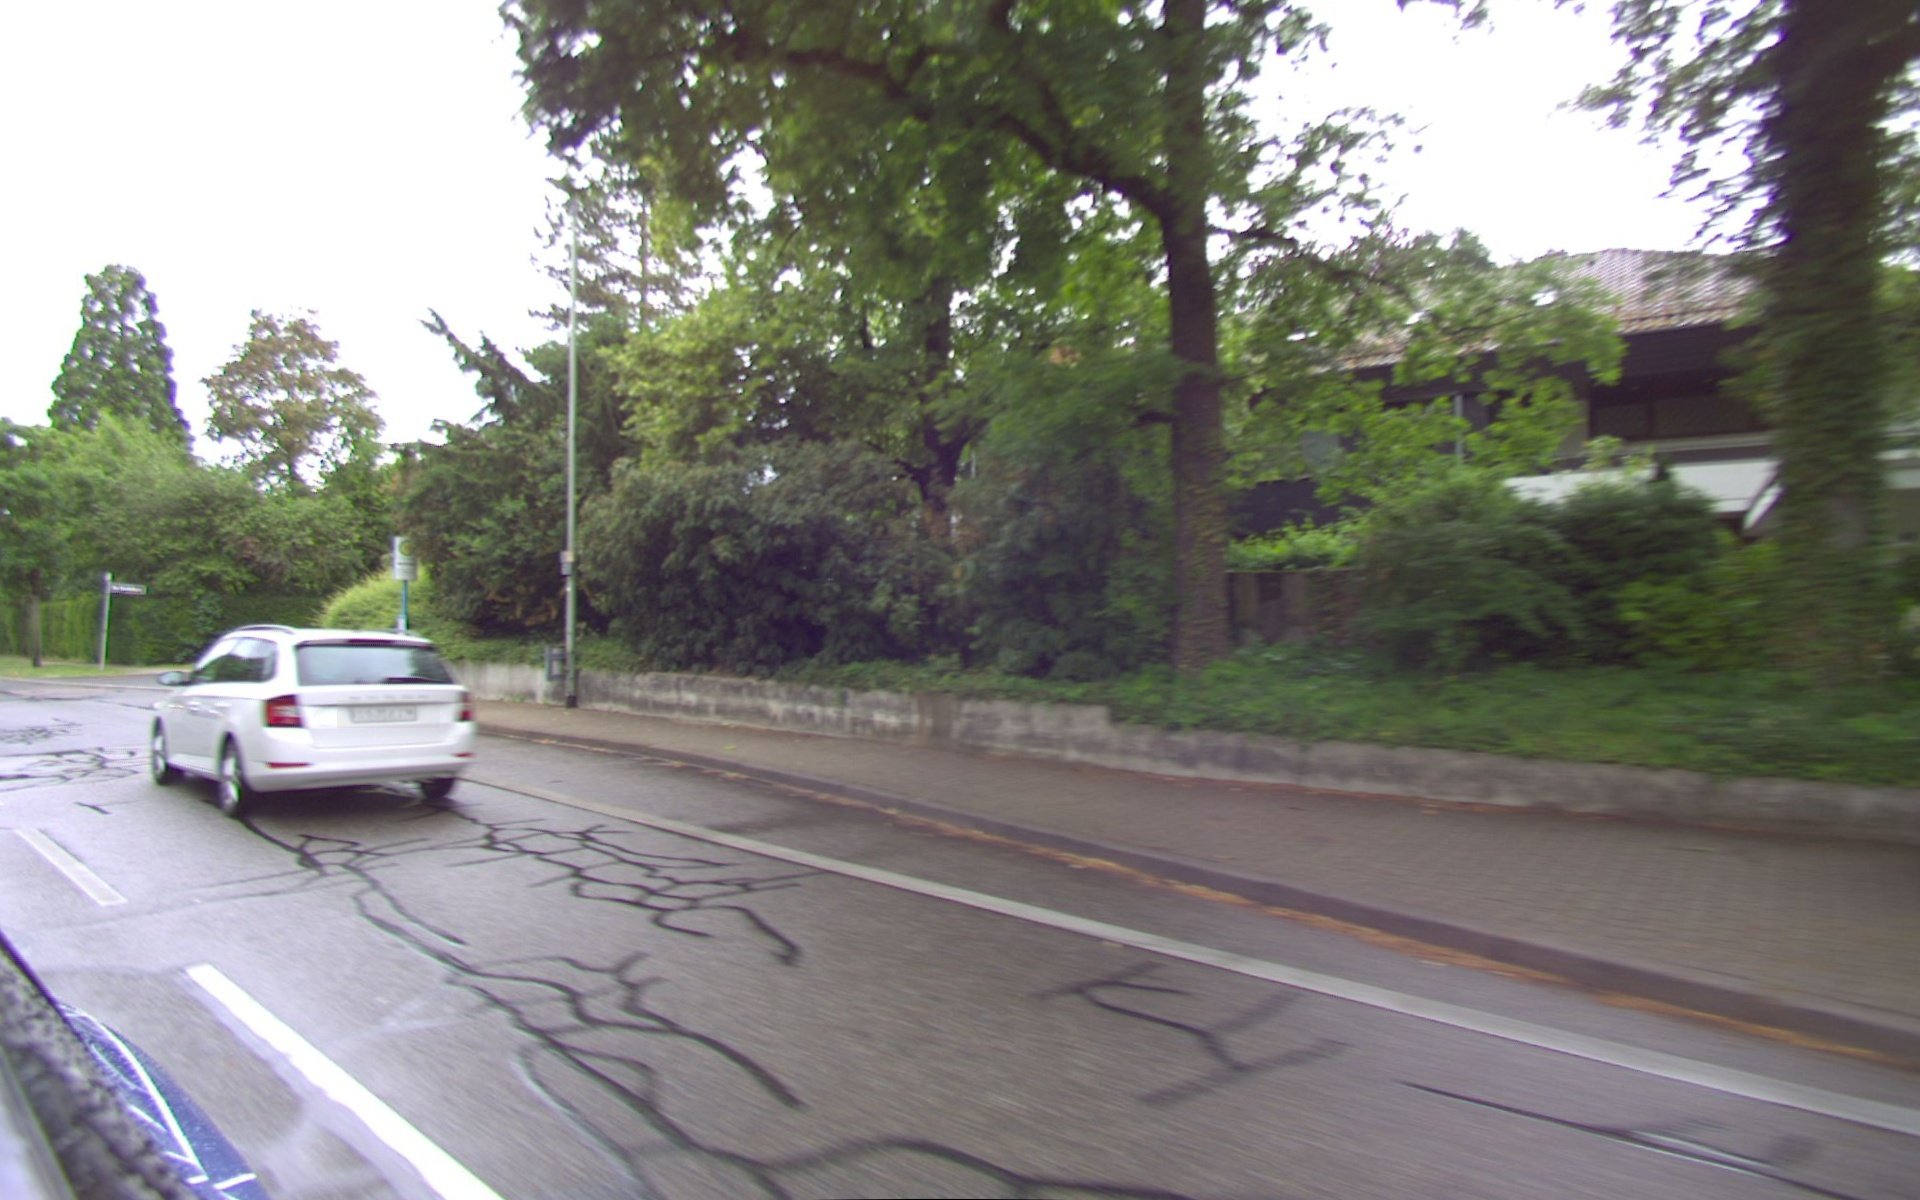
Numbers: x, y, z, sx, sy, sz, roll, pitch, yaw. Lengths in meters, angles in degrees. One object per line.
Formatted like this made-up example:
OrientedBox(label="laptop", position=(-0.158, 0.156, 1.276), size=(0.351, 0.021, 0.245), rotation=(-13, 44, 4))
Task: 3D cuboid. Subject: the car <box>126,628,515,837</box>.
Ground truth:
OrientedBox(label="car", position=(-5.713, 0.980, 8.859), size=(4.005, 1.421, 1.683), rotation=(-1, -4, 40))
